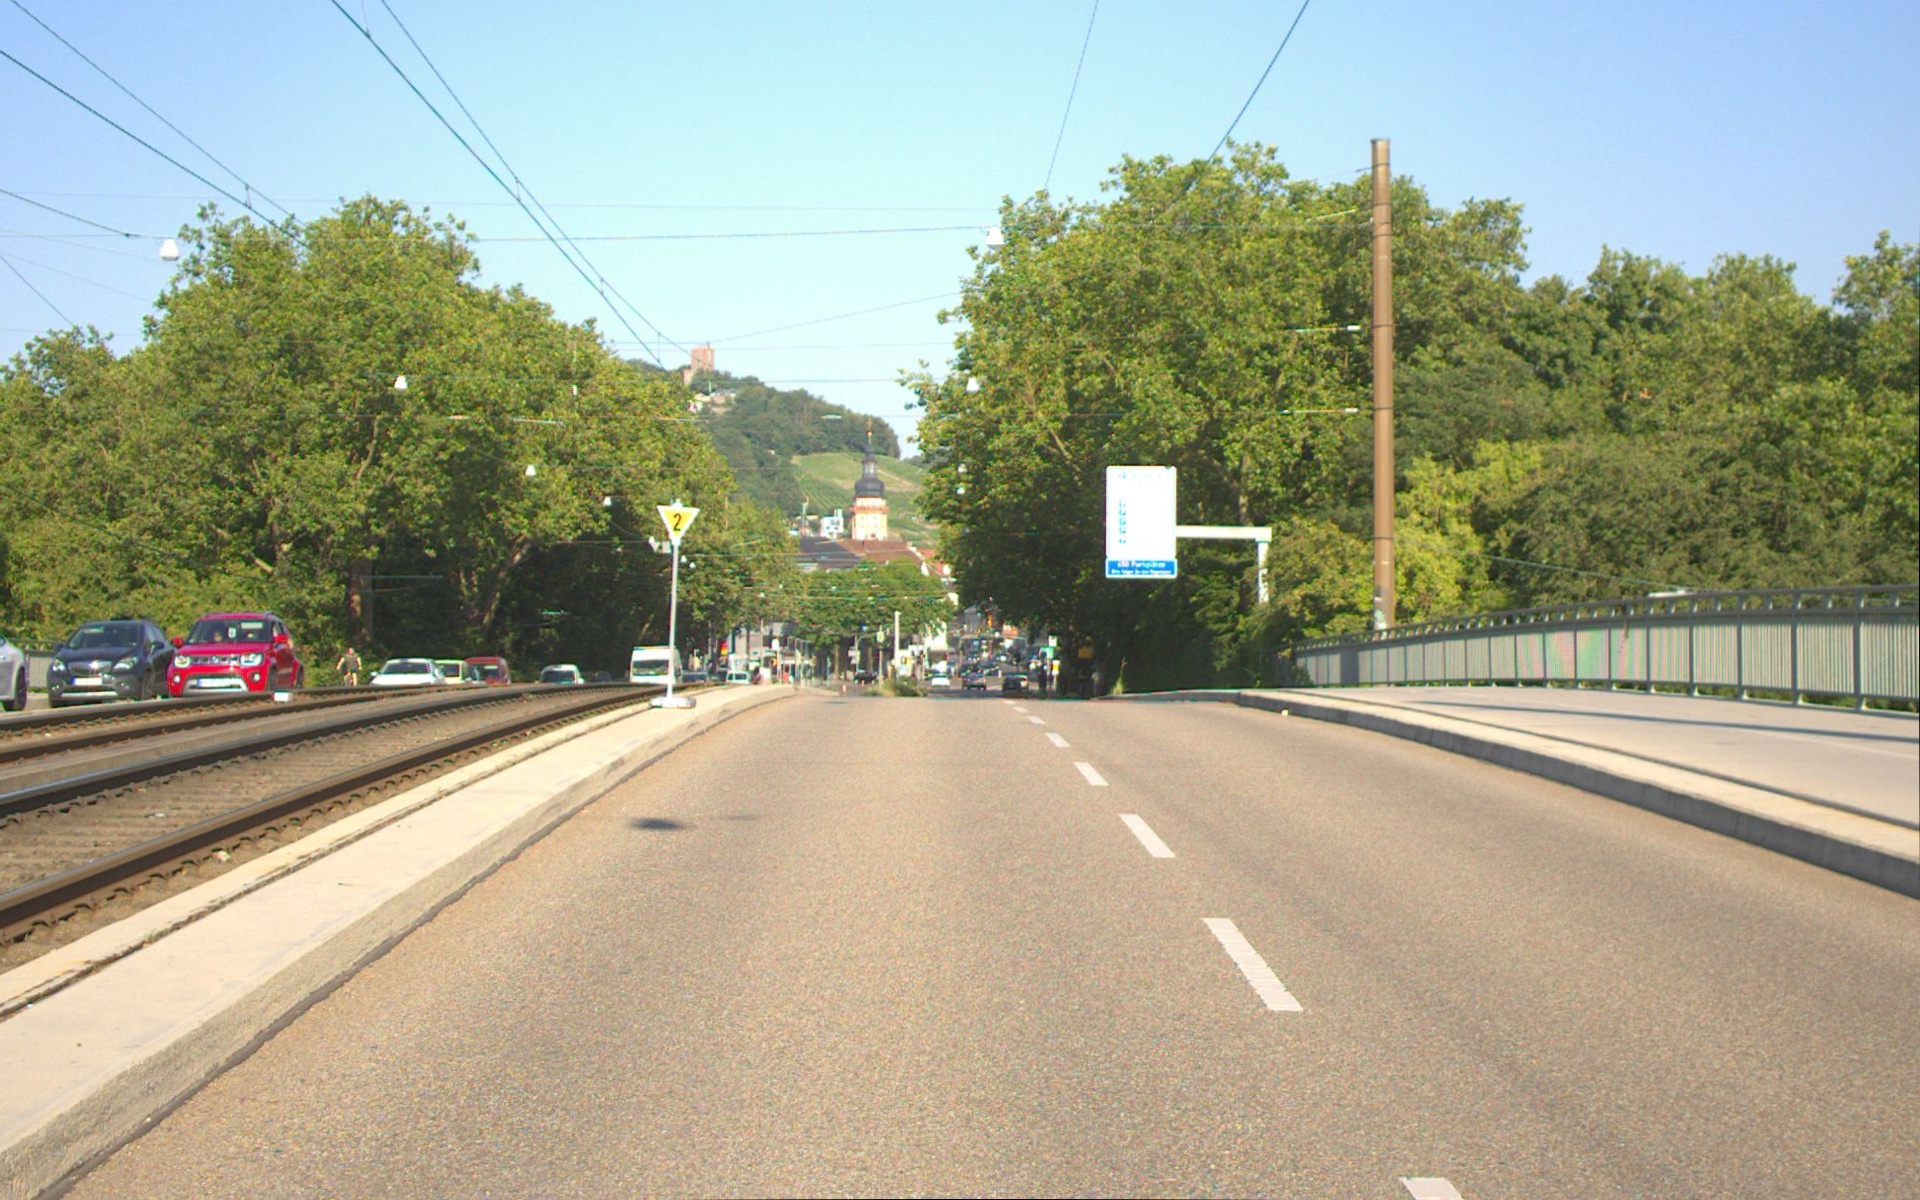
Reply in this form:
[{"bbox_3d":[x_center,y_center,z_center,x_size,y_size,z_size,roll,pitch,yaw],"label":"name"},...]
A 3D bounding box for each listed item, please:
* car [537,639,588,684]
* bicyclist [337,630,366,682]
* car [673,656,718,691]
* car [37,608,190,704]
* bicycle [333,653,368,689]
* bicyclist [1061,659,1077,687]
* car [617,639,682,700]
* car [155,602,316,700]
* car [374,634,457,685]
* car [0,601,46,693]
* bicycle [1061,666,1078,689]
[{"bbox_3d":[-16.725,2.581,144.891,1.741,1.737,4.514,-3,0,-3],"label":"car"},{"bbox_3d":[-19.113,1.753,107.999,0.679,1.621,0.890,2,-1,0],"label":"bicyclist"},{"bbox_3d":[-13.996,3.884,182.170,1.873,1.660,4.596,4,-1,0],"label":"car"},{"bbox_3d":[-15.569,1.009,63.407,1.779,1.645,4.447,0,1,-1],"label":"car"},{"bbox_3d":[-19.127,2.214,107.957,0.679,1.094,2.100,2,-1,0],"label":"bicycle"},{"bbox_3d":[6.450,4.321,202.841,0.887,1.633,1.164,0,-1,0],"label":"bicyclist"},{"bbox_3d":[-13.683,3.074,151.990,2.086,2.584,6.040,1,-1,2],"label":"car"},{"bbox_3d":[-11.868,0.865,56.555,1.808,1.514,4.000,1,-2,-1],"label":"car"},{"bbox_3d":[-15.839,1.723,100.160,1.741,1.459,4.956,0,-1,-2],"label":"car"},{"bbox_3d":[-15.295,0.719,52.006,1.684,1.351,4.920,0,1,-1],"label":"car"},{"bbox_3d":[6.450,4.572,202.737,0.887,1.317,2.639,0,-1,0],"label":"bicycle"}]
